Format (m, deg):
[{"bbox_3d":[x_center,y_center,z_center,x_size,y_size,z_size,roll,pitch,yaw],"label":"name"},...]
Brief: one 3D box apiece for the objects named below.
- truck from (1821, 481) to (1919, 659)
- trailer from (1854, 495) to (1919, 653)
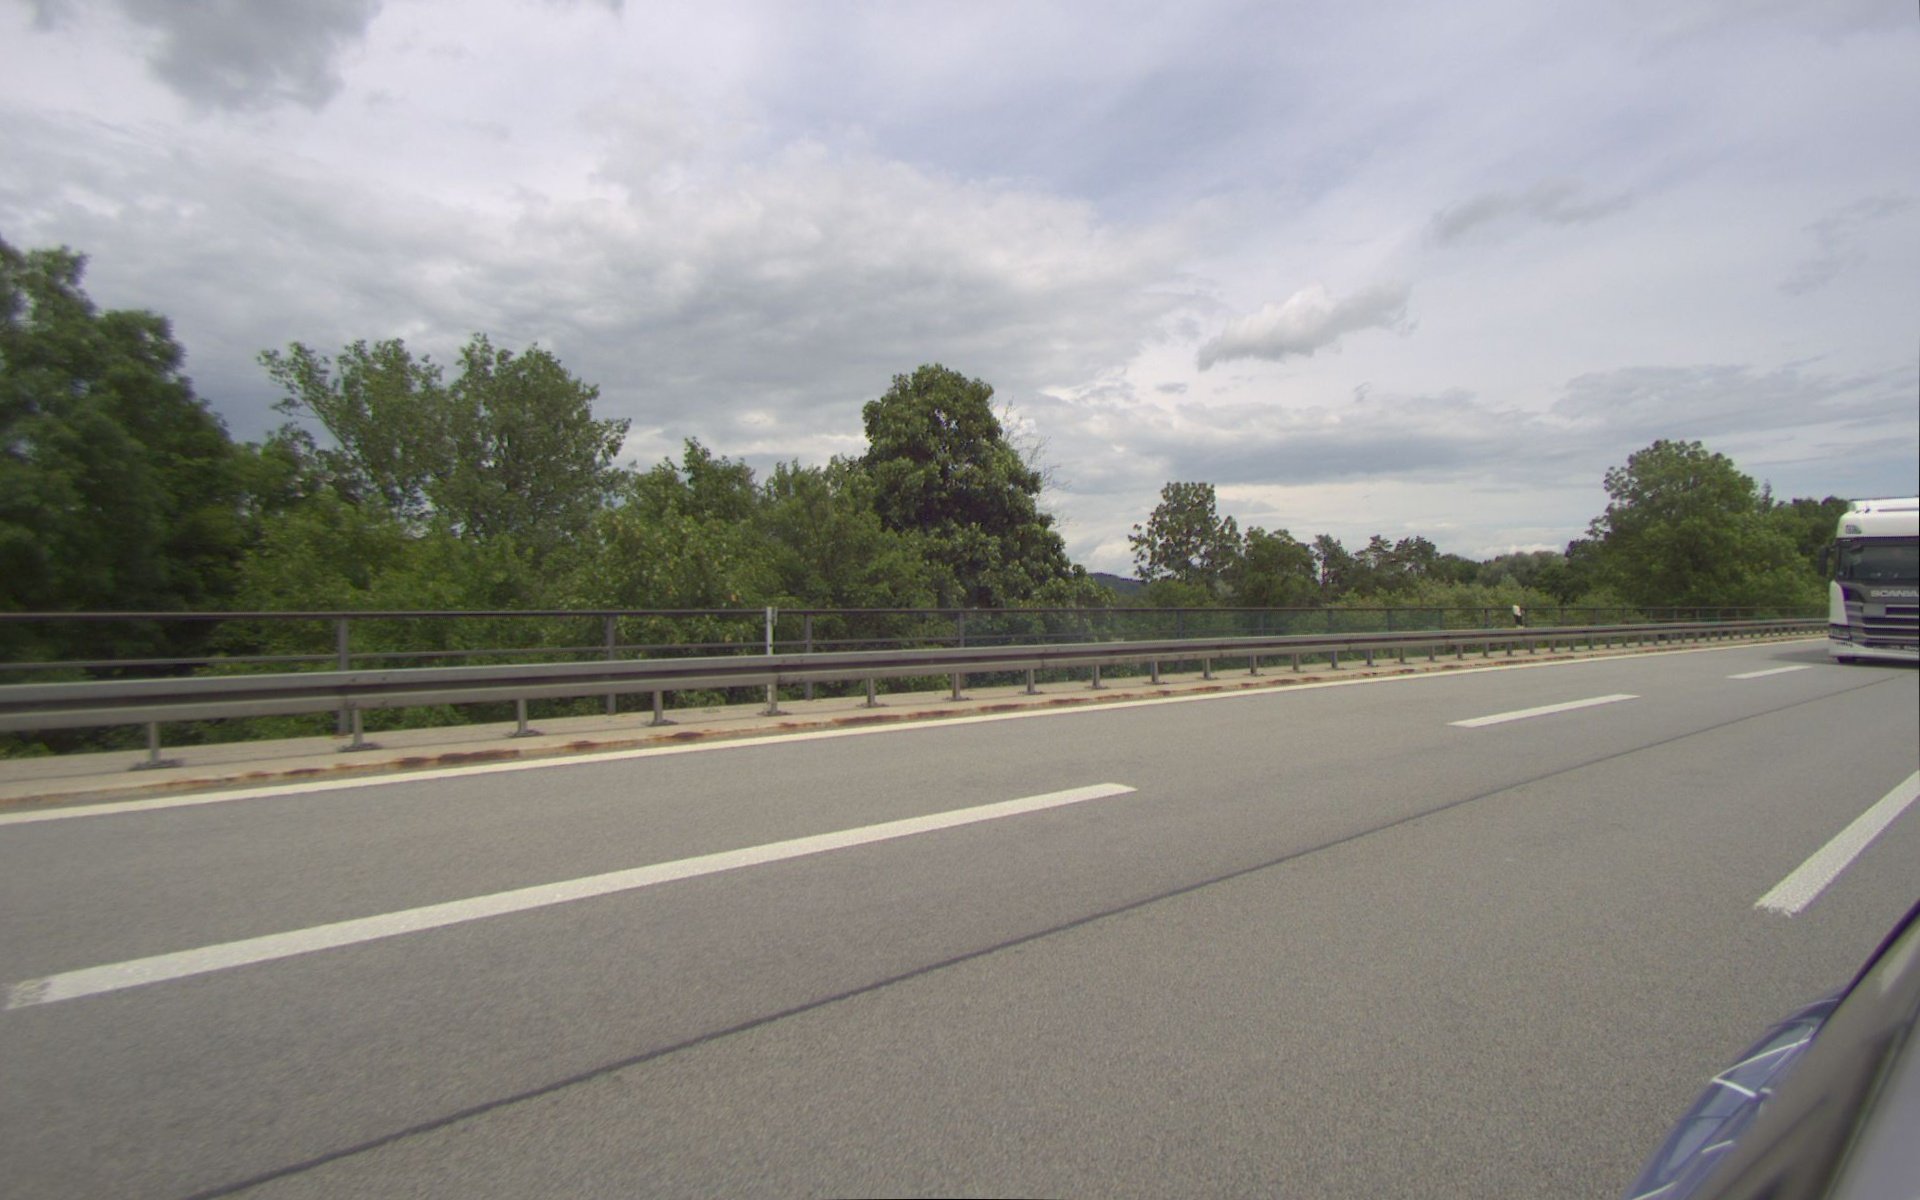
[{"bbox_3d":[23.357,-0.645,24.369,5.893,3.941,3.068,1,0,-40],"label":"truck"},{"bbox_3d":[29.205,-0.603,29.253,13.543,3.940,3.068,1,0,-40],"label":"trailer"}]
